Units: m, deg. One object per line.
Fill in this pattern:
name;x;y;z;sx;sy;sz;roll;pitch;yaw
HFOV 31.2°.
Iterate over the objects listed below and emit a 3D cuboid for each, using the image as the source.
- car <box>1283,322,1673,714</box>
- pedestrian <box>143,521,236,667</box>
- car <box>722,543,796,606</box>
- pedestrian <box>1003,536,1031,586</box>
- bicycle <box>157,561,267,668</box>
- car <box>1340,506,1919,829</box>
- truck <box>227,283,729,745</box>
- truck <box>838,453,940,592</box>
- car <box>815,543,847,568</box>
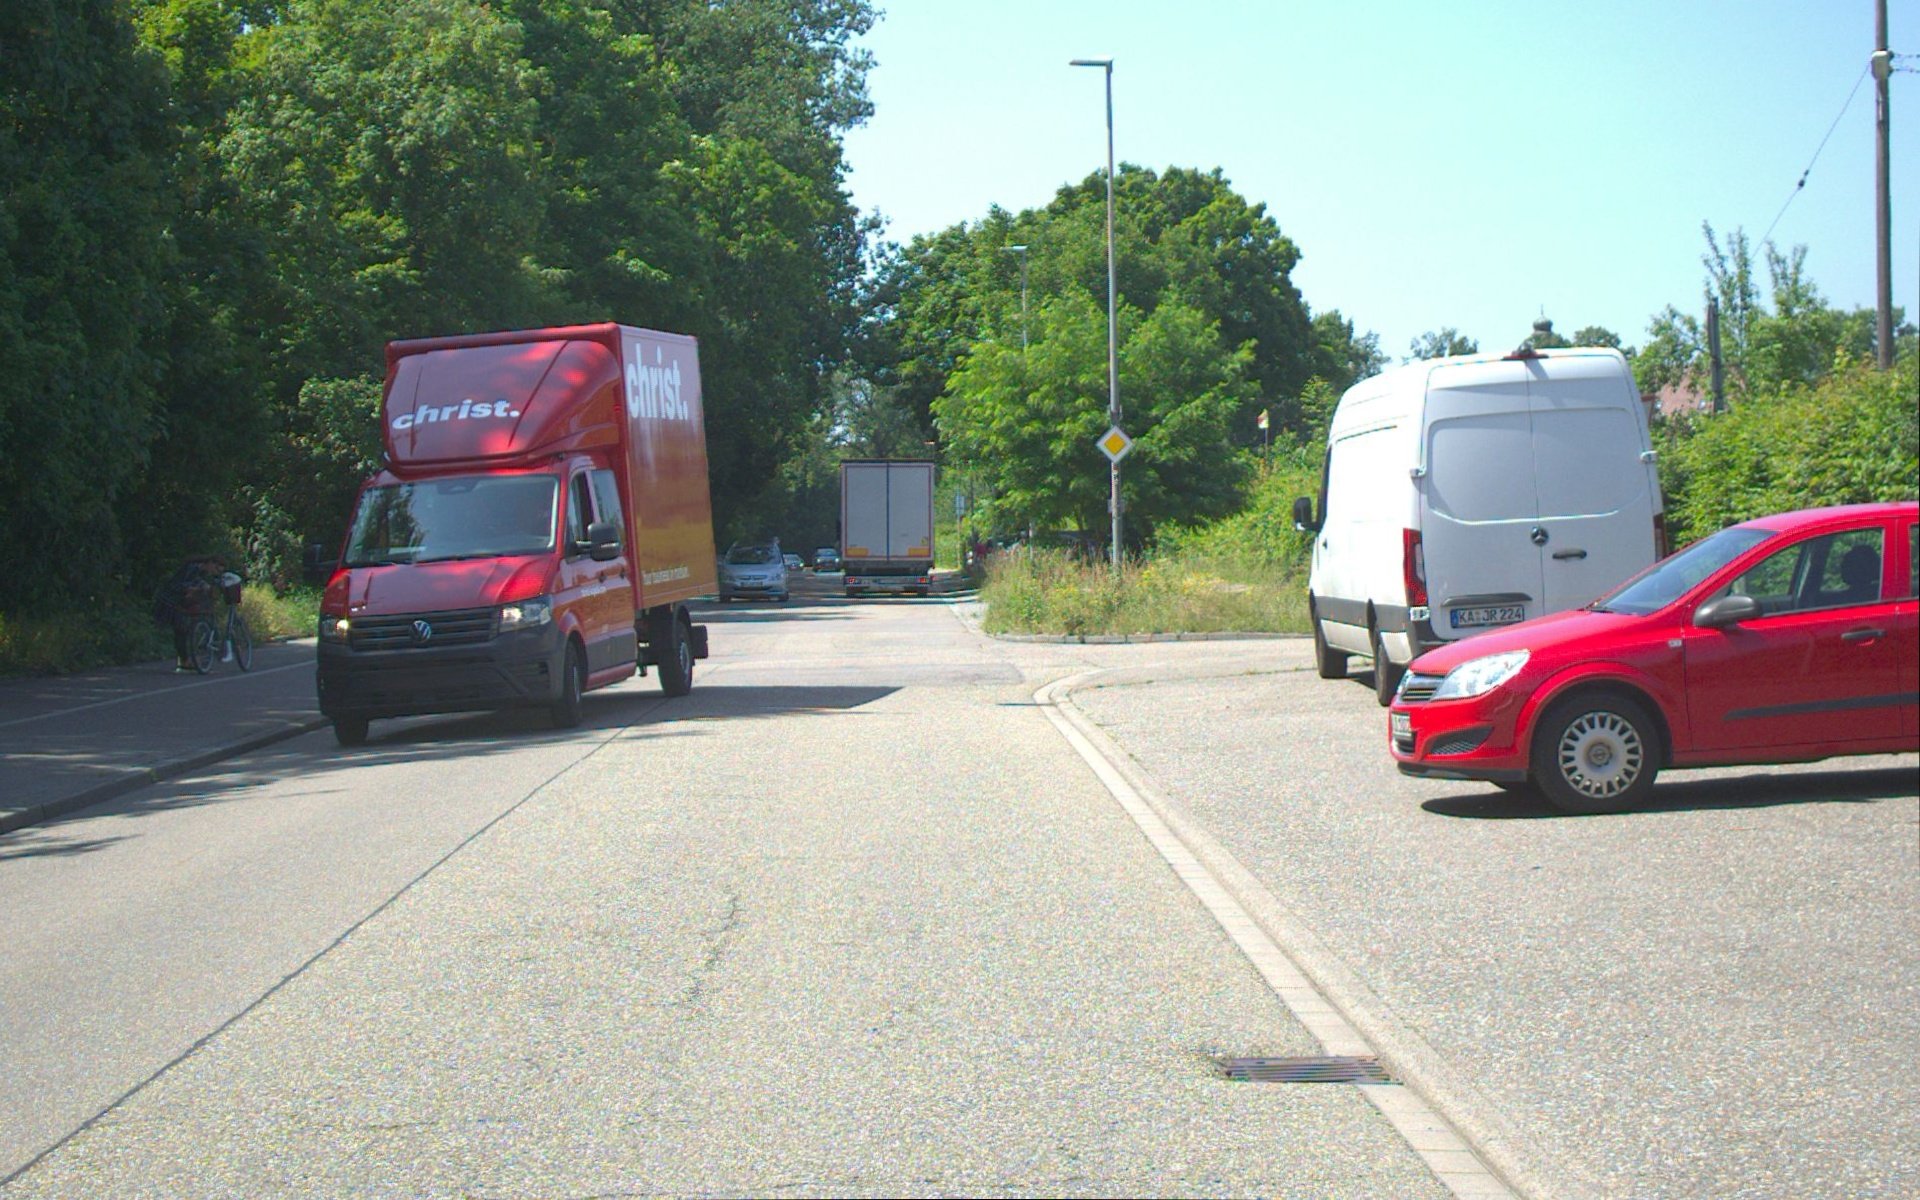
car;4.072;-0.677;28.355;1.954;2.724;7.168;-3;1;0
pedestrian;-9.135;-0.074;40.791;0.808;1.712;0.776;0;1;15
car;-5.213;-0.689;89.573;1.791;1.567;4.272;-1;1;-2
pedestrian;1.912;-1.310;116.316;0.863;1.671;0.886;-1;1;-2
bicycle;-8.835;0.158;40.681;0.521;1.232;1.960;1;0;11
car;4.182;0.280;17.888;4.053;1.429;1.836;-3;1;-4
truck;-3.969;-0.754;30.066;2.323;3.428;7.159;-3;1;8
truck;-1.999;-2.202;99.411;2.733;3.733;13.246;0;1;-1
car;-8.883;-3.060;237.033;1.993;1.678;4.262;-1;1;-1
